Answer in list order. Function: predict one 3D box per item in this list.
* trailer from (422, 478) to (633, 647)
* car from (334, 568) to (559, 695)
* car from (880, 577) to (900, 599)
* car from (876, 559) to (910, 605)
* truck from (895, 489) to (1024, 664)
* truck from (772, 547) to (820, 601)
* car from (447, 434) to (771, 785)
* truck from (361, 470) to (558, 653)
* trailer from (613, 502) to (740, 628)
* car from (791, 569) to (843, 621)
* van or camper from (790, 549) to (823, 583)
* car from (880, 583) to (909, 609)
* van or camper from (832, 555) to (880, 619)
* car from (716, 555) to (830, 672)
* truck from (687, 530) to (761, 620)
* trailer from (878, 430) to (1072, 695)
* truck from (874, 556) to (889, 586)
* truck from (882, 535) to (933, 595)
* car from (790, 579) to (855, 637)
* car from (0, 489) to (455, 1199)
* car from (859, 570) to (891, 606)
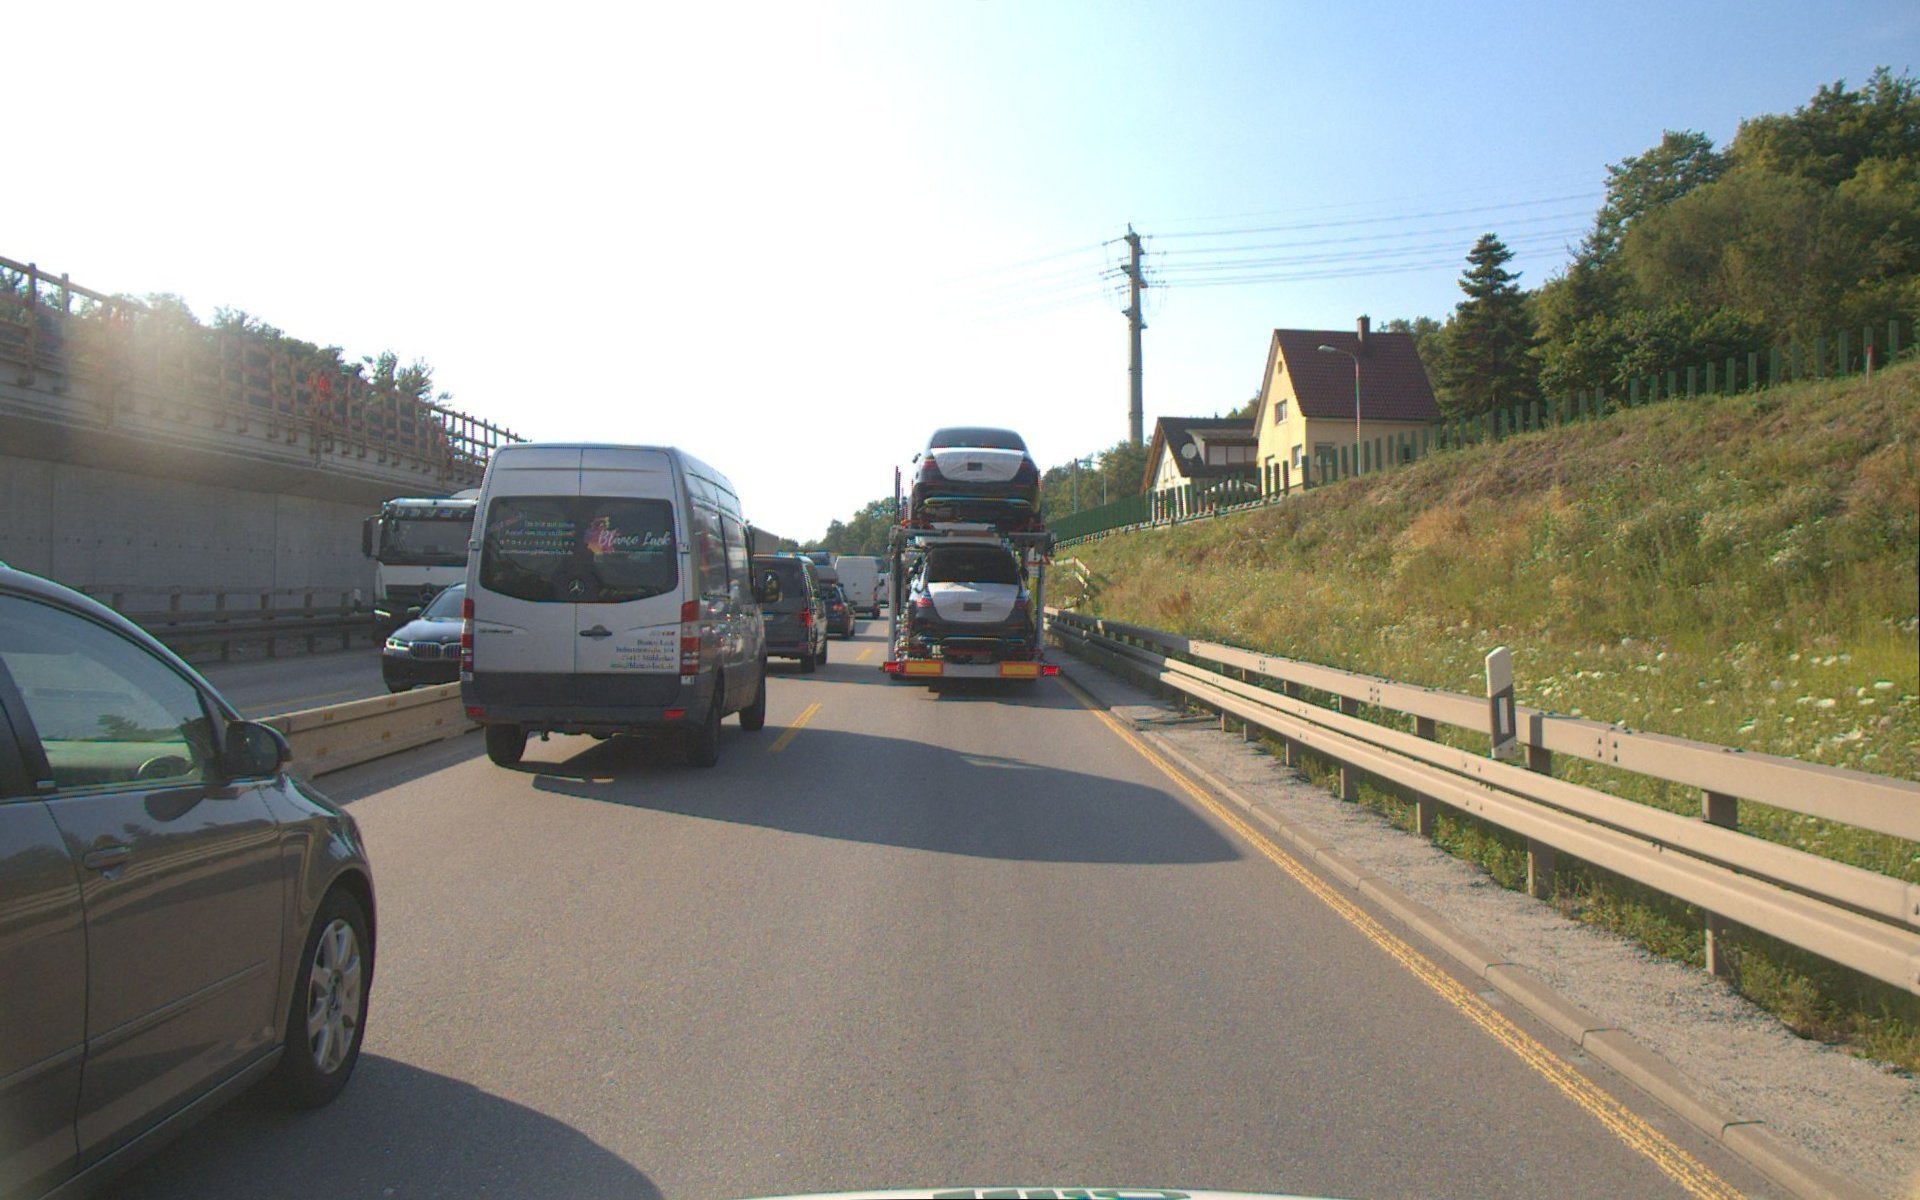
[{"bbox_3d":[-10.358,-0.784,40.909,2.505,3.588,10.679,1,0,-1],"label":"trailer"},{"bbox_3d":[-7.104,0.406,23.407,1.730,1.579,4.835,1,0,-1],"label":"car"},{"bbox_3d":[-9.718,-1.653,230.389,2.715,3.045,5.594,1,0,-3],"label":"car"},{"bbox_3d":[-7.669,-2.059,188.517,3.377,5.123,9.643,1,1,-5],"label":"car"},{"bbox_3d":[-0.063,-0.488,37.872,2.628,3.596,7.192,1,0,-1],"label":"truck"},{"bbox_3d":[-11.278,-1.708,114.122,2.660,3.484,8.137,-2,0,-2],"label":"truck"},{"bbox_3d":[-3.020,0.034,15.525,1.953,2.694,5.529,0,1,-1],"label":"car"},{"bbox_3d":[-10.258,-0.727,34.461,2.497,3.469,5.529,1,0,-2],"label":"truck"},{"bbox_3d":[-10.485,-1.319,62.810,2.709,4.213,14.022,1,1,-1],"label":"trailer"},{"bbox_3d":[-7.231,-0.244,84.212,2.422,2.578,3.999,0,0,-2],"label":"car"},{"bbox_3d":[-12.851,-2.830,139.102,2.265,2.709,6.453,-2,1,-2],"label":"van or camper"},{"bbox_3d":[-4.791,-0.276,121.510,1.953,1.892,3.999,0,0,-1],"label":"car"},{"bbox_3d":[-4.482,-0.549,71.860,1.929,2.637,5.039,1,0,-2],"label":"van or camper"},{"bbox_3d":[-3.308,0.246,29.908,1.772,1.937,3.997,1,-1,-3],"label":"car"},{"bbox_3d":[-11.238,-1.146,79.181,2.803,4.078,5.656,1,0,-2],"label":"truck"},{"bbox_3d":[0.079,-0.512,30.369,2.628,3.596,15.285,1,0,-1],"label":"trailer"},{"bbox_3d":[-12.067,-4.464,254.019,2.154,4.504,8.224,0,0,-4],"label":"truck"},{"bbox_3d":[-4.270,-2.863,137.433,3.982,4.761,10.591,0,1,0],"label":"truck"},{"bbox_3d":[-3.882,0.188,47.203,1.691,1.549,3.971,1,1,-3],"label":"car"},{"bbox_3d":[-2.515,0.620,3.530,1.646,1.616,4.270,0,-1,-1],"label":"car"},{"bbox_3d":[-5.113,-0.720,100.285,1.848,2.136,3.764,1,0,-2],"label":"car"}]
